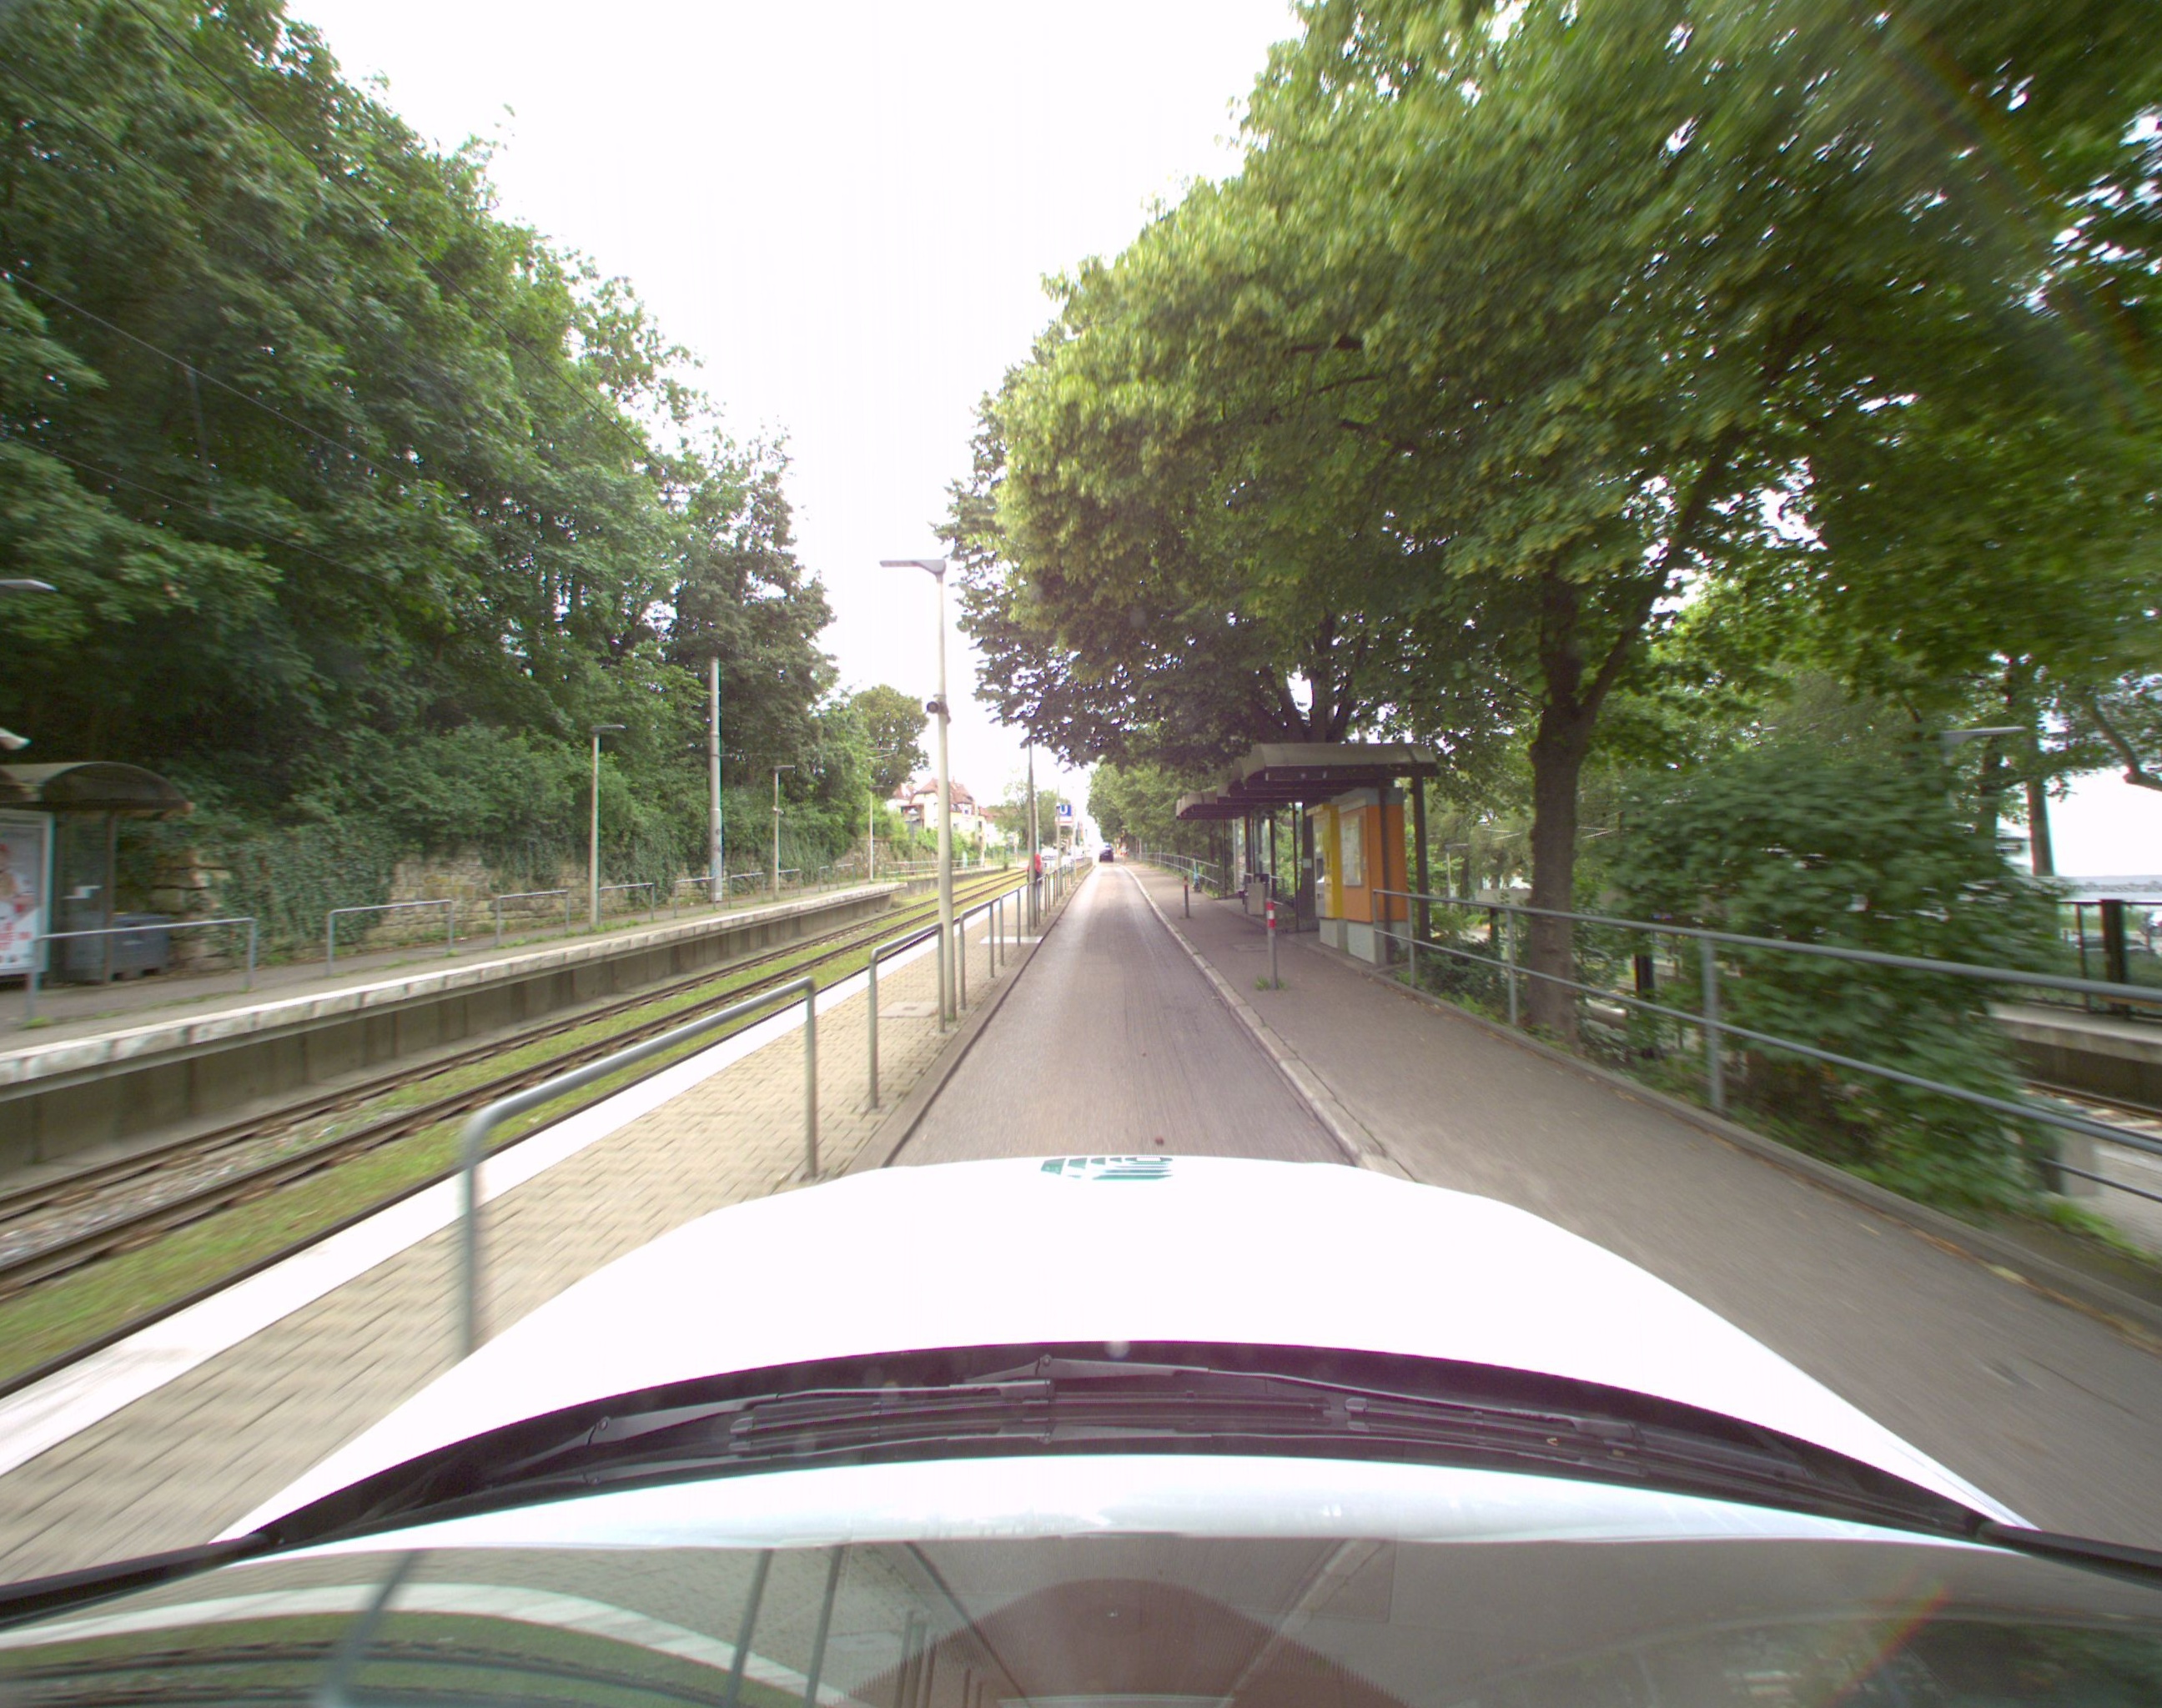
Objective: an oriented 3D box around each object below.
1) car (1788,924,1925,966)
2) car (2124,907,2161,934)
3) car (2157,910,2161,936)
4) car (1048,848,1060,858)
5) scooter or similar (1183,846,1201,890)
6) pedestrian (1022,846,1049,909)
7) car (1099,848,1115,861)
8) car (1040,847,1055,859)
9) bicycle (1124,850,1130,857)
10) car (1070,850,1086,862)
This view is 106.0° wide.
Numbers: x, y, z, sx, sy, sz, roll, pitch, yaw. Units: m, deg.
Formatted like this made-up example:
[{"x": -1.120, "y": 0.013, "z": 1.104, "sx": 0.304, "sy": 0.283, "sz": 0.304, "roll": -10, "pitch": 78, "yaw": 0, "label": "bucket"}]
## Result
[{"x": 37.959, "y": 4.437, "z": 39.995, "sx": 4.538, "sy": 1.792, "sz": 2.006, "roll": -1, "pitch": -1, "yaw": 10, "label": "car"}, {"x": 67.860, "y": 4.041, "z": 49.944, "sx": 4.286, "sy": 1.468, "sz": 2.013, "roll": -5, "pitch": -3, "yaw": 37, "label": "car"}, {"x": 62.693, "y": 3.775, "z": 44.434, "sx": 4.286, "sy": 1.468, "sz": 2.013, "roll": -7, "pitch": -4, "yaw": 38, "label": "car"}, {"x": -4.732, "y": -0.163, "z": 143.387, "sx": 1.878, "sy": 1.526, "sz": 4.665, "roll": -2, "pitch": 0, "yaw": 2, "label": "car"}, {"x": 3.563, "y": 0.448, "z": 26.205, "sx": 0.428, "sy": 1.384, "sz": 1.456, "roll": 0, "pitch": -1, "yaw": 2, "label": "scooter or similar"}, {"x": -1.121, "y": 0.567, "z": 20.069, "sx": 0.623, "sy": 1.502, "sz": 0.739, "roll": 0, "pitch": 1, "yaw": -1, "label": "pedestrian"}, {"x": 3.259, "y": -0.002, "z": 103.179, "sx": 1.896, "sy": 1.615, "sz": 4.604, "roll": 0, "pitch": 0, "yaw": 3, "label": "car"}, {"x": -5.240, "y": -0.142, "z": 129.072, "sx": 2.029, "sy": 1.881, "sz": 4.885, "roll": -4, "pitch": -1, "yaw": 1, "label": "car"}, {"x": 6.915, "y": -0.057, "z": 122.478, "sx": 0.427, "sy": 0.976, "sz": 1.790, "roll": 0, "pitch": -1, "yaw": -8, "label": "bicycle"}, {"x": -0.379, "y": 0.231, "z": 106.282, "sx": 1.986, "sy": 1.498, "sz": 4.313, "roll": 0, "pitch": -1, "yaw": 2, "label": "car"}]
